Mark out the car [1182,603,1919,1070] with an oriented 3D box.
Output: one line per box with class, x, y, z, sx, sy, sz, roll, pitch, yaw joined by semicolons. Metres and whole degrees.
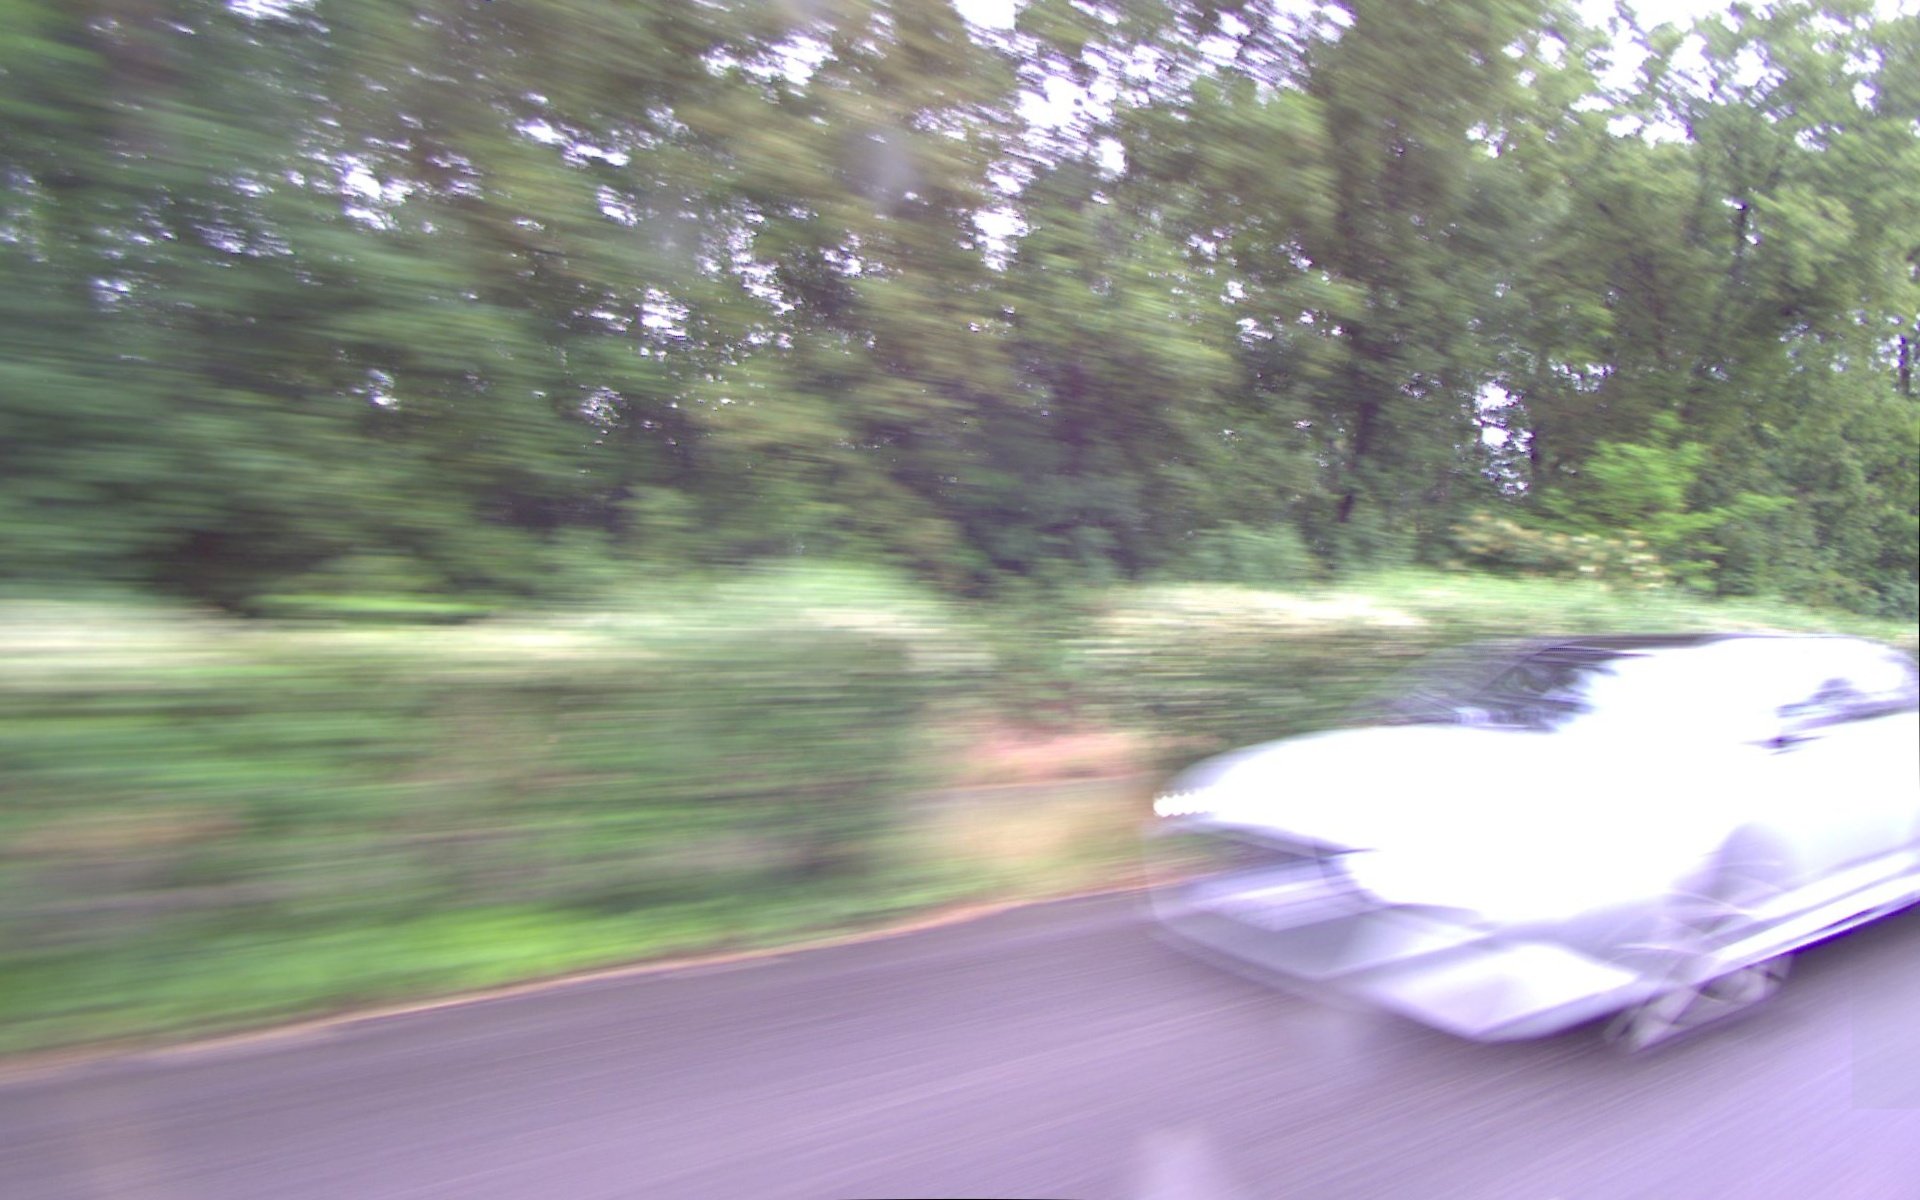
car;3.435;0.810;5.133;4.393;1.487;1.848;0;-3;-30
